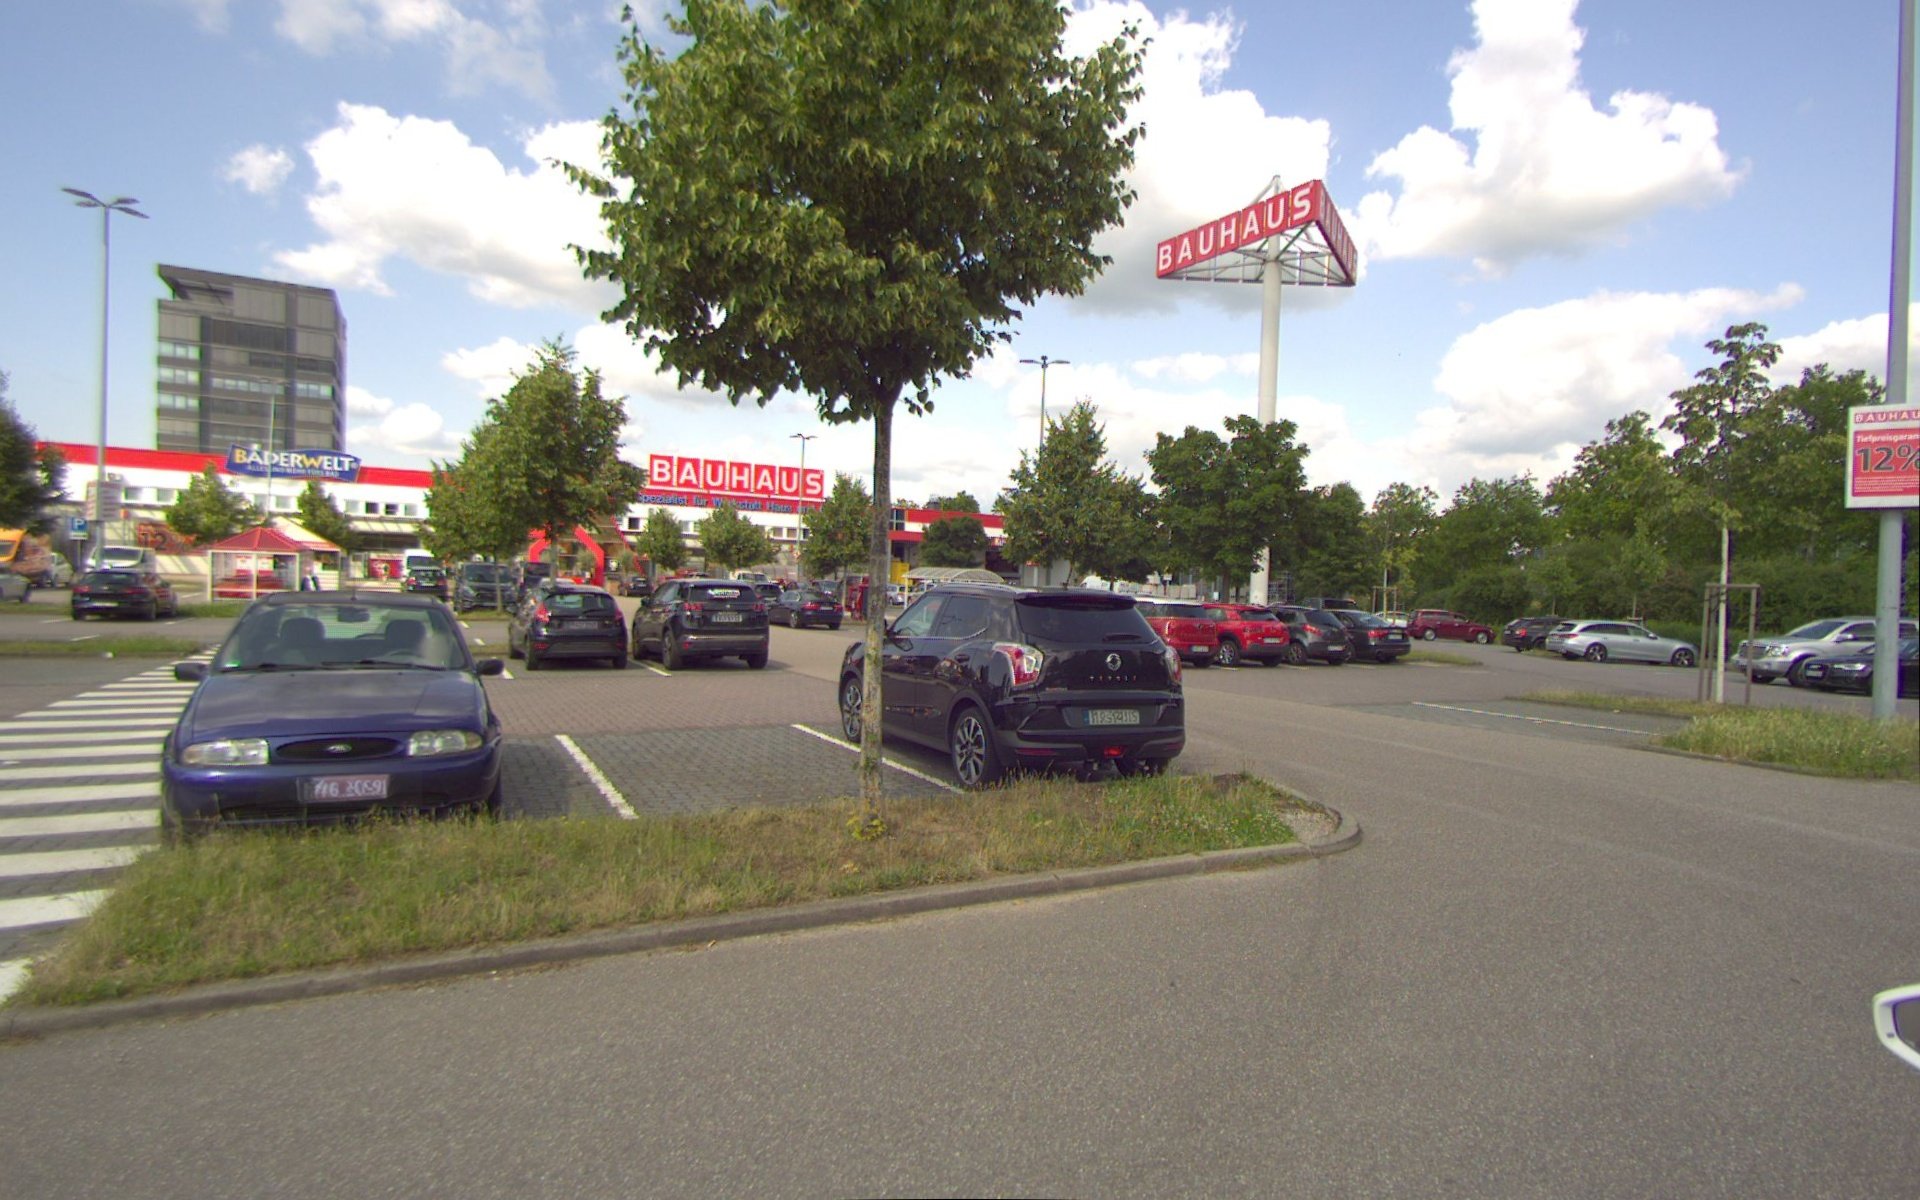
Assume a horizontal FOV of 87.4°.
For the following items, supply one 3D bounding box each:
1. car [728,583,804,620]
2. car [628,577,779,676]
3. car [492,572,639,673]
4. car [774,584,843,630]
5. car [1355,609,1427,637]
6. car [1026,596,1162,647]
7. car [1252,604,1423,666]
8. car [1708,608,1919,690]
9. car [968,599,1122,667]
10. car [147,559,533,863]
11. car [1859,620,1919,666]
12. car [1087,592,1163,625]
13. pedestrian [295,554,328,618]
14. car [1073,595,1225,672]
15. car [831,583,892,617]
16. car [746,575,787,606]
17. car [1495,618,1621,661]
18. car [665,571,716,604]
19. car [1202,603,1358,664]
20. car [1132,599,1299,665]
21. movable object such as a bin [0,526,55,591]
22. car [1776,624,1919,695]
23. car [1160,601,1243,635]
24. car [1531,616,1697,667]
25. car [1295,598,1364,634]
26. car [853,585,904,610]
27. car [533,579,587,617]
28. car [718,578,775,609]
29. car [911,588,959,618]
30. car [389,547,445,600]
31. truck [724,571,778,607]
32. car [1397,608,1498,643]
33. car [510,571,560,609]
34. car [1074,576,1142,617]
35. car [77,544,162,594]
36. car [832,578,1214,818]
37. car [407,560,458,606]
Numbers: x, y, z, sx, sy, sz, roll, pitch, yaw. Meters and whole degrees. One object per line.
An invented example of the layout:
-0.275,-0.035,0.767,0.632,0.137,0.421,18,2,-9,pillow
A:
-8.569,0.036,44.084,1.976,1.487,4.382,2,1,-29,car
-5.014,0.431,19.270,1.763,1.646,4.051,1,1,-30,car
-7.339,0.342,18.488,1.765,1.646,3.672,1,1,-34,car
-5.749,0.236,37.852,1.677,1.624,3.200,2,1,-26,car
25.606,1.357,59.706,3.571,1.487,1.635,3,-1,6,car
4.021,0.624,30.738,1.873,1.371,4.245,2,1,-31,car
10.520,0.936,28.328,1.749,1.452,4.511,2,0,-26,car
22.806,1.248,26.120,5.044,1.867,1.991,2,1,5,car
1.907,0.727,23.672,1.709,1.387,3.852,1,1,-30,car
-3.933,0.479,6.605,1.602,1.386,3.732,2,1,-30,car
44.401,2.035,46.303,1.880,2.040,4.497,4,0,3,car
8.725,0.433,53.385,1.888,1.617,3.967,1,1,-30,car
-21.359,-0.459,33.103,0.808,2.040,0.908,1,1,-30,pedestrian
4.398,0.744,23.777,1.690,1.602,3.419,1,1,-30,car
-5.708,-0.016,58.013,1.977,1.802,3.966,2,1,-31,car
-14.277,-0.689,74.001,1.973,2.040,3.976,5,-1,-24,car
23.869,1.567,40.195,3.920,1.399,1.700,4,-1,5,car
-14.202,-0.657,52.778,1.709,1.528,3.210,5,-1,-30,car
8.396,0.849,26.694,1.560,1.387,3.970,2,1,-28,car
6.355,0.770,25.427,1.746,1.417,4.054,1,1,-30,car
-38.866,-1.696,40.939,2.108,2.527,5.287,1,1,-33,movable object such as a bin
22.310,1.424,23.544,4.629,1.470,1.840,2,1,7,car
11.588,0.854,48.377,1.706,1.466,3.740,1,1,-32,car
22.993,1.443,35.472,4.560,1.524,1.785,2,1,5,car
24.077,1.031,65.455,4.002,2.045,1.935,4,-1,-25,car
-5.161,-0.196,63.382,1.725,1.357,3.434,5,-1,-33,car
-15.910,-0.092,39.847,1.721,1.405,3.537,2,1,-26,car
-11.825,-0.375,55.422,1.976,1.529,3.968,2,1,-29,car
-1.528,0.159,60.809,1.583,1.767,3.142,0,1,-30,car
-29.198,-1.415,53.948,2.216,2.671,4.289,3,0,-33,car
-13.047,-0.690,62.379,1.837,2.040,5.371,5,-1,-26,truck
25.270,1.296,52.190,4.233,1.617,2.001,2,1,4,car
-20.692,-0.503,48.886,1.679,1.635,2.632,5,-1,-33,car
9.883,-0.267,67.366,2.028,2.543,4.693,3,1,-28,car
-39.000,-1.411,46.738,1.976,2.040,4.771,5,-1,-29,car
0.312,0.668,9.144,1.713,1.646,3.936,2,1,-26,car
-24.968,-0.832,47.685,1.974,2.040,3.973,2,1,-26,car
